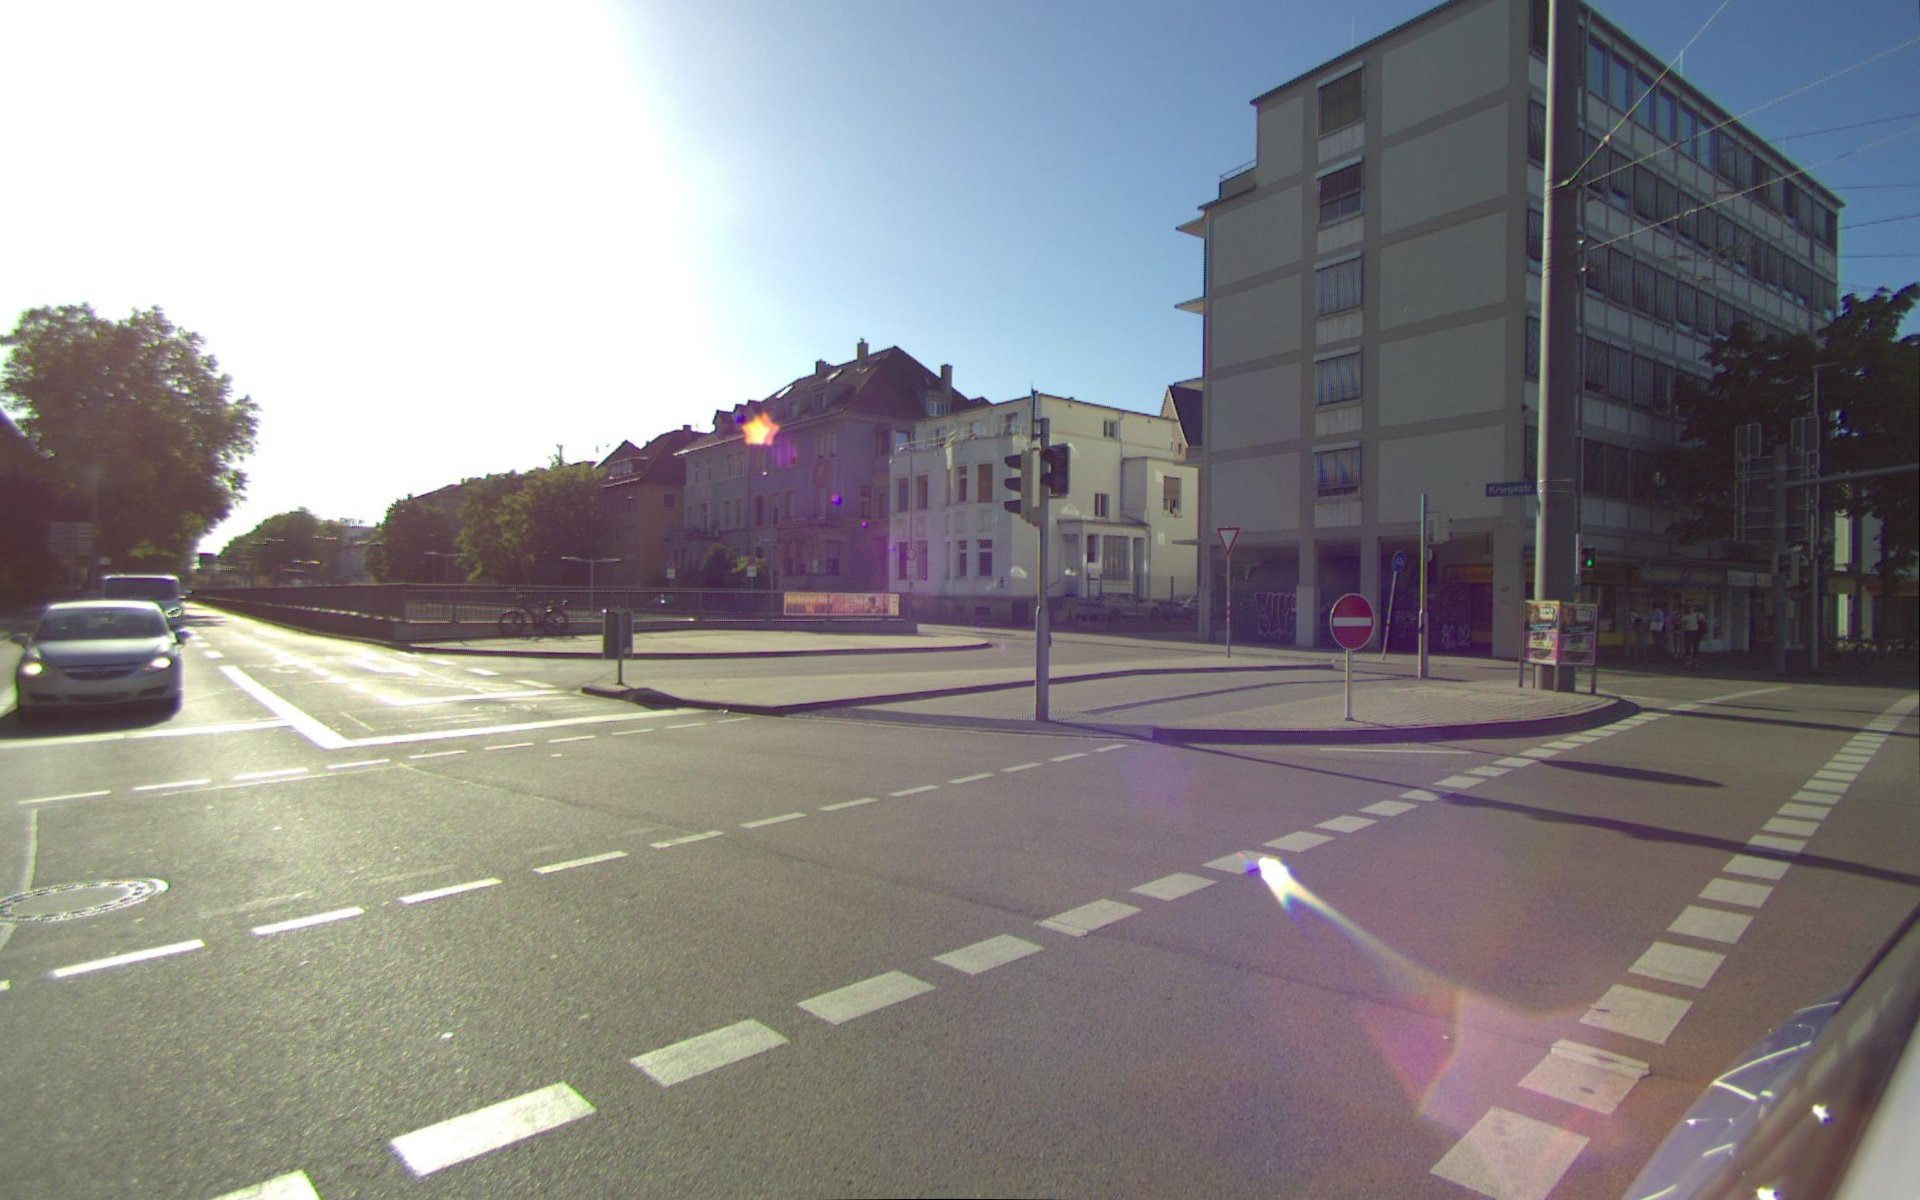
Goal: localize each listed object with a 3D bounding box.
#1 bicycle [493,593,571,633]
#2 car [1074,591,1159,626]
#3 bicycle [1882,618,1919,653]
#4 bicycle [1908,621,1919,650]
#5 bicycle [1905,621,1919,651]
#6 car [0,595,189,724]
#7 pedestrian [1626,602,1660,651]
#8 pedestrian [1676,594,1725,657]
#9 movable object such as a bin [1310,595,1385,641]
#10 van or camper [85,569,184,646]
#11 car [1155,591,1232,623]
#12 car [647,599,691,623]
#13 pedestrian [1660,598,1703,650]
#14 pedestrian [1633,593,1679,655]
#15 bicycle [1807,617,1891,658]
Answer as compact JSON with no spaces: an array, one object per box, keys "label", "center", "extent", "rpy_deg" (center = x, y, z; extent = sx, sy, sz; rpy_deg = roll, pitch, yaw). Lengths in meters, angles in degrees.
[{"label":"bicycle","center":[-12.111,0.357,28.668],"extent":[1.960,1.094,0.596],"rpy_deg":[1,-1,-40]},{"label":"car","center":[7.384,0.396,47.562],"extent":[3.953,1.578,1.800],"rpy_deg":[0,0,-39]},{"label":"bicycle","center":[33.655,1.263,35.551],"extent":[0.427,1.166,1.815],"rpy_deg":[1,0,-36]},{"label":"bicycle","center":[36.782,1.368,37.876],"extent":[0.392,1.069,1.852],"rpy_deg":[1,1,-43]},{"label":"bicycle","center":[35.384,1.326,36.556],"extent":[0.448,1.070,1.775],"rpy_deg":[0,0,-27]},{"label":"car","center":[-11.827,0.694,14.027],"extent":[1.771,1.449,3.851],"rpy_deg":[-2,2,-37]},{"label":"pedestrian","center":[20.372,0.783,30.181],"extent":[0.609,1.440,0.647],"rpy_deg":[0,-1,-31]},{"label":"pedestrian","center":[20.775,0.704,28.407],"extent":[0.863,1.729,0.846],"rpy_deg":[0,-1,-33]},{"label":"movable object such as a bin","center":[13.238,0.579,34.629],"extent":[1.423,1.487,1.917],"rpy_deg":[-1,1,-32]},{"label":"van or camper","center":[-23.493,0.160,28.842],"extent":[2.005,1.977,5.256],"rpy_deg":[1,0,-39]},{"label":"car","center":[11.911,0.341,51.450],"extent":[3.952,1.580,1.785],"rpy_deg":[0,0,-39]},{"label":"car","center":[-20.431,0.766,70.898],"extent":[1.658,1.616,3.890],"rpy_deg":[1,0,-37]},{"label":"pedestrian","center":[22.631,0.740,31.737],"extent":[0.863,1.622,0.846],"rpy_deg":[0,-1,-33]},{"label":"pedestrian","center":[19.986,0.671,29.060],"extent":[0.830,1.743,0.879],"rpy_deg":[1,-1,-38]},{"label":"bicycle","center":[27.824,1.152,31.693],"extent":[0.471,1.171,1.898],"rpy_deg":[0,2,-32]}]
